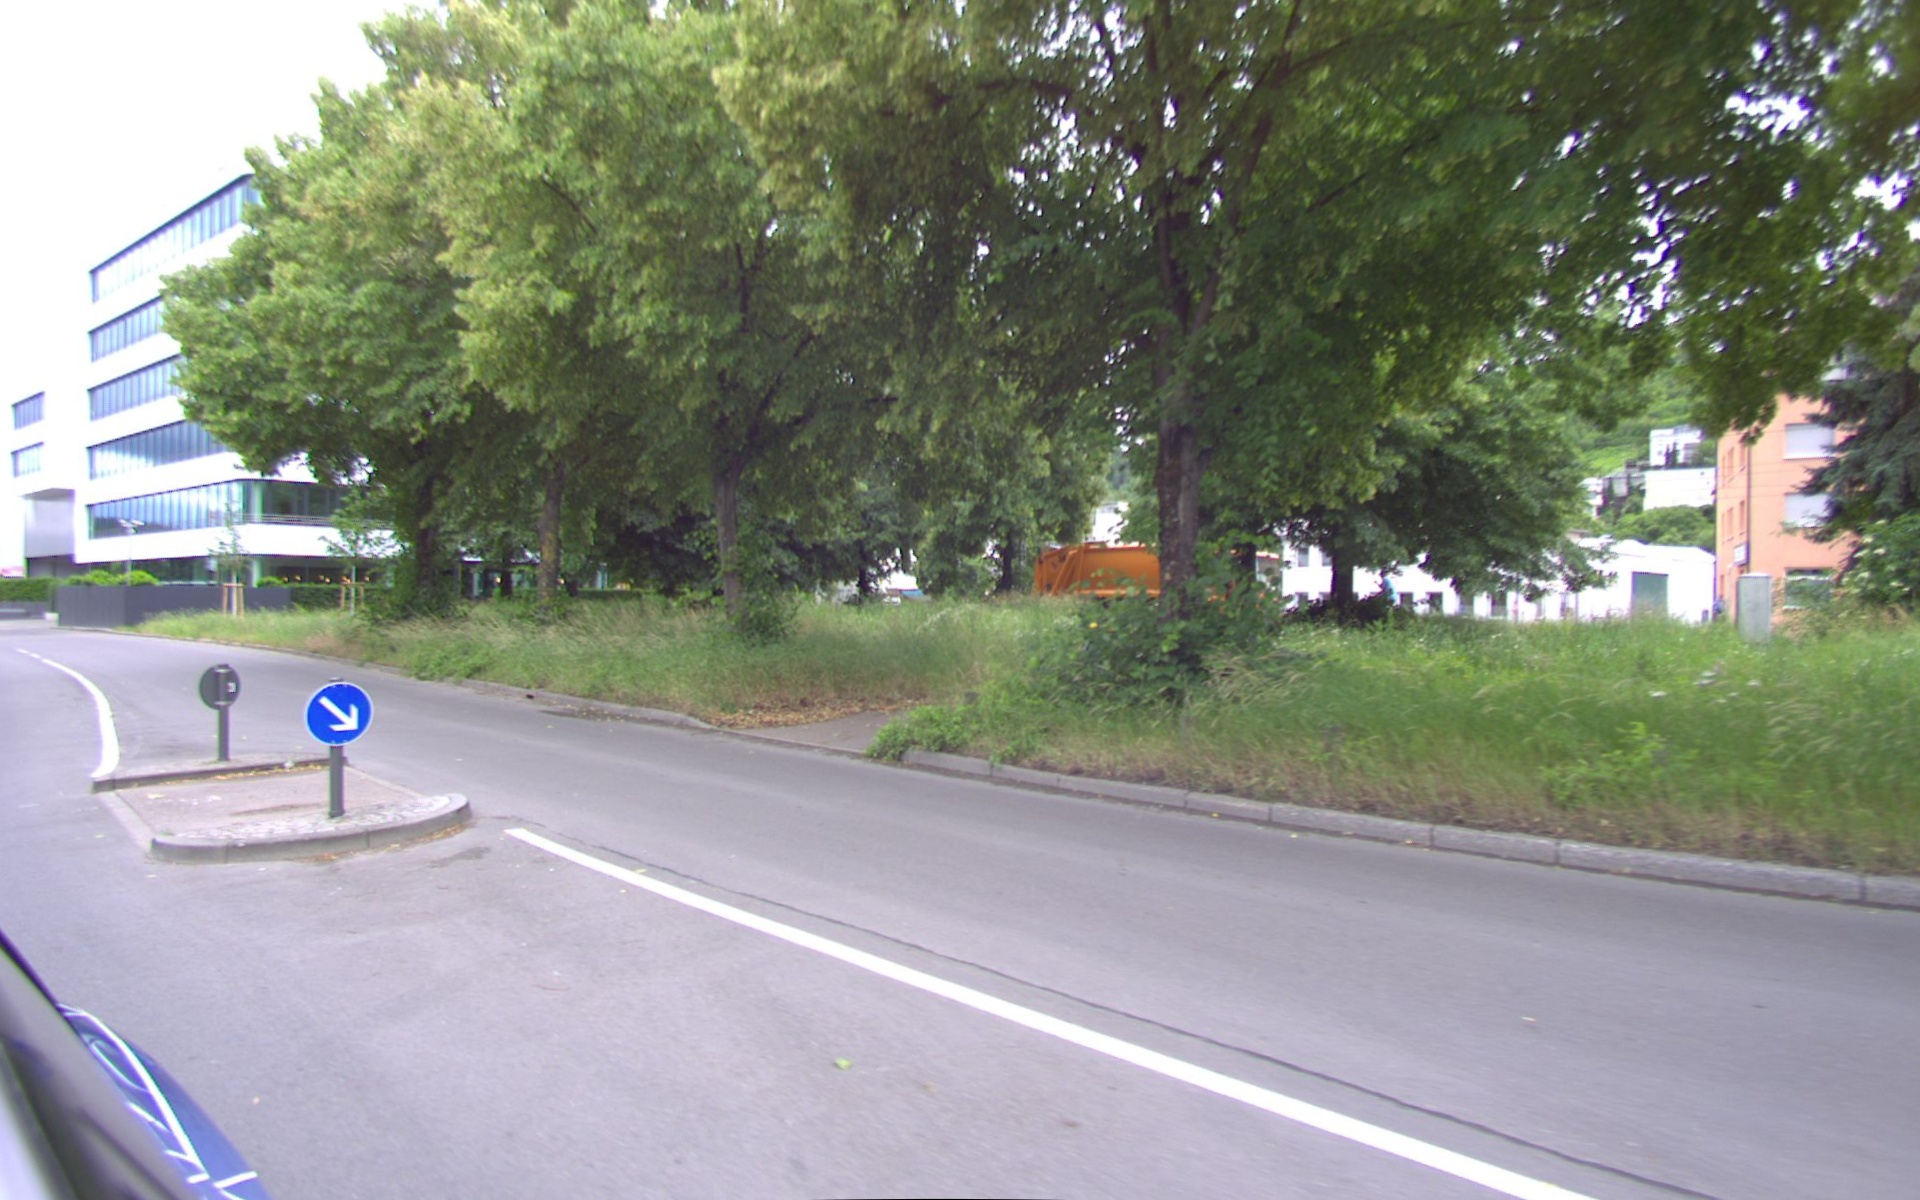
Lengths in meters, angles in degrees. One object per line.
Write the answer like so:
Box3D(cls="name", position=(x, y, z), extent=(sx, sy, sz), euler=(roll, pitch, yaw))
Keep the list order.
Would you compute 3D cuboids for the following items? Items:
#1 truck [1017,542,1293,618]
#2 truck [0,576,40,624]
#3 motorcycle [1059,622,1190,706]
Box3D(cls="truck", position=(7.081, -0.580, 38.391), extent=(10.245, 2.541, 2.942), euler=(-1, -2, 42))
Box3D(cls="truck", position=(-83.421, 0.072, 88.946), extent=(2.705, 4.061, 7.111), euler=(0, -1, -34))
Box3D(cls="motorcycle", position=(2.422, 0.921, 15.160), extent=(0.559, 1.177, 2.038), euler=(1, -2, -42))
